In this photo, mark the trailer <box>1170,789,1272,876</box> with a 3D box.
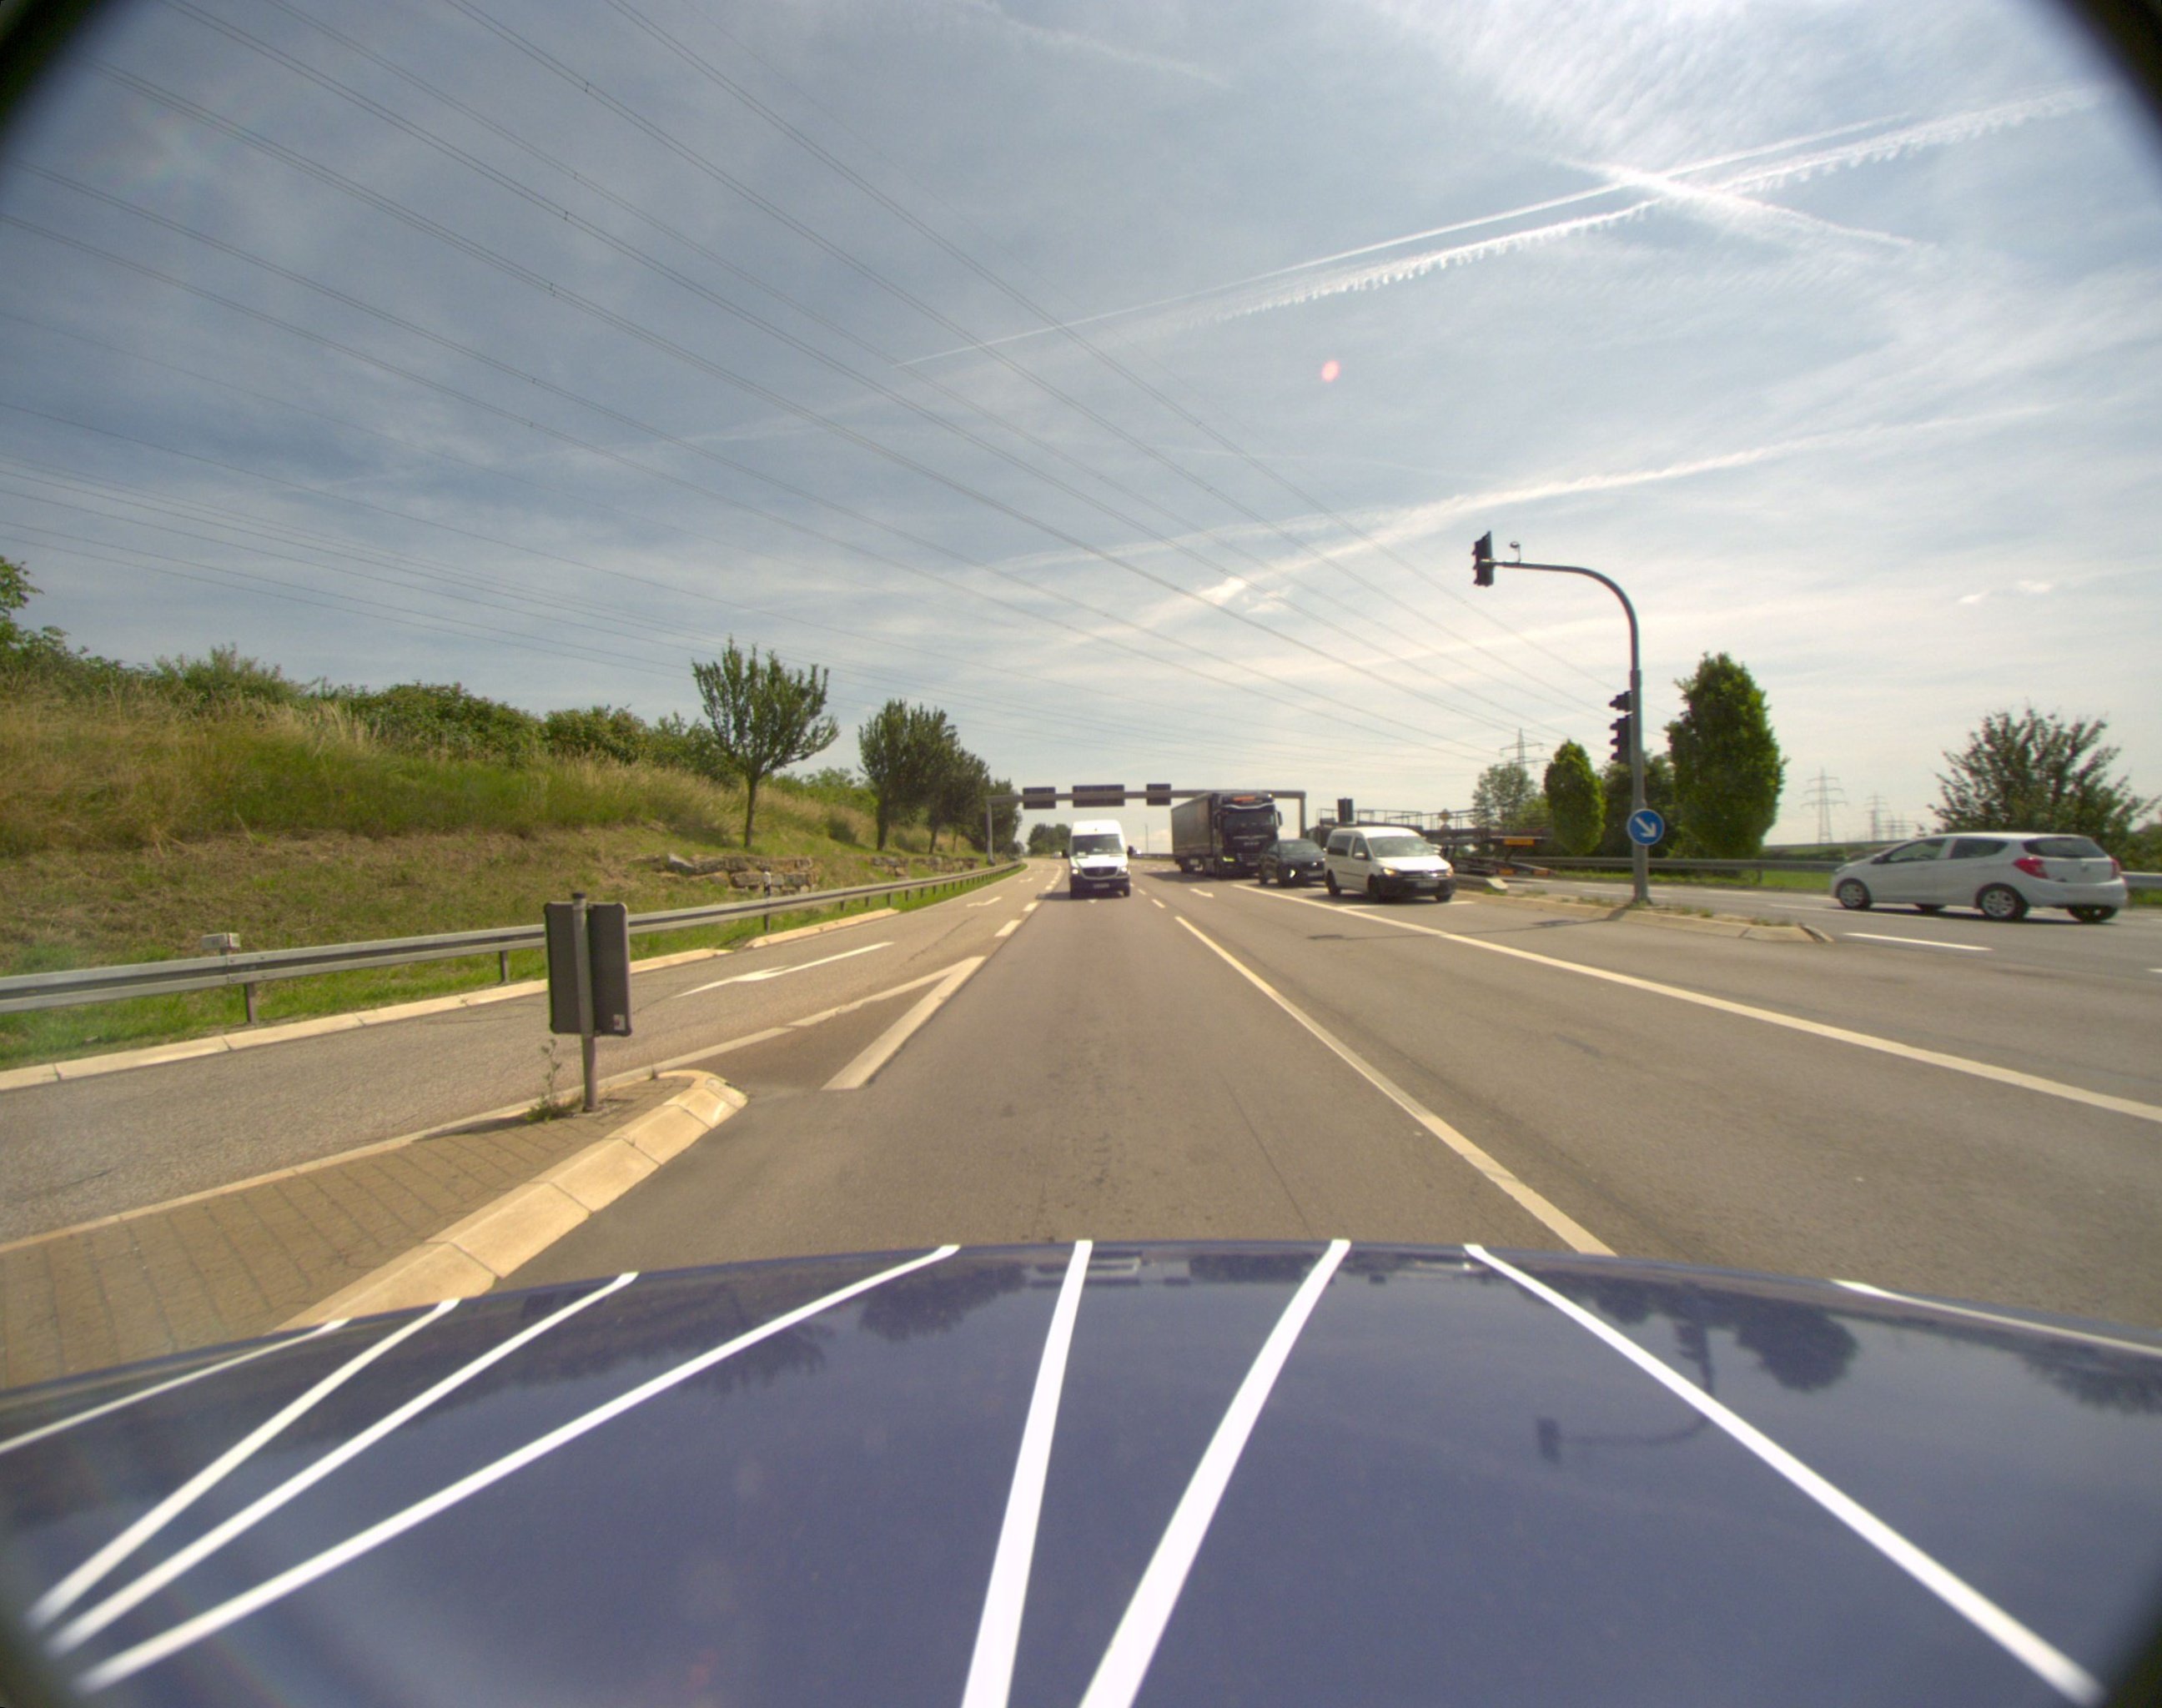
[{"bbox_3d":[7.274,-1.066,41.993,2.790,3.891,13.783,-3,1,-1],"label":"trailer"}]

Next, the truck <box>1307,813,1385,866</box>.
[{"bbox_3d":[16.388,-0.907,47.382,2.806,2.996,5.988,-1,1,1],"label":"truck"}]

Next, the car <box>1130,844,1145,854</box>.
[{"bbox_3d":[8.674,-0.816,116.671,1.740,1.495,4.323,0,1,-2],"label":"car"}]

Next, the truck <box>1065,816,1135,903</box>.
[{"bbox_3d":[0.571,0.130,25.291,1.998,2.518,5.104,-2,1,0],"label":"truck"}]

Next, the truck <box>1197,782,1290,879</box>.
[{"bbox_3d":[7.327,-1.039,35.067,2.790,3.990,5.969,-3,1,-1],"label":"truck"}]

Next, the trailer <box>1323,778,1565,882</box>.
[{"bbox_3d":[16.367,-1.085,37.568,2.646,3.742,19.794,-1,1,1],"label":"trailer"}]

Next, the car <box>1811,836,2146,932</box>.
[{"bbox_3d":[15.879,0.432,13.807,1.648,1.488,3.801,0,1,2],"label":"car"}]

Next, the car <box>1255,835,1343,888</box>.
[{"bbox_3d":[7.591,0.211,26.947,1.860,1.648,4.348,-3,1,1],"label":"car"}]

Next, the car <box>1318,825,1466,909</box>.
[{"bbox_3d":[7.610,0.259,19.181,1.772,1.788,4.751,-3,1,1],"label":"car"}]
